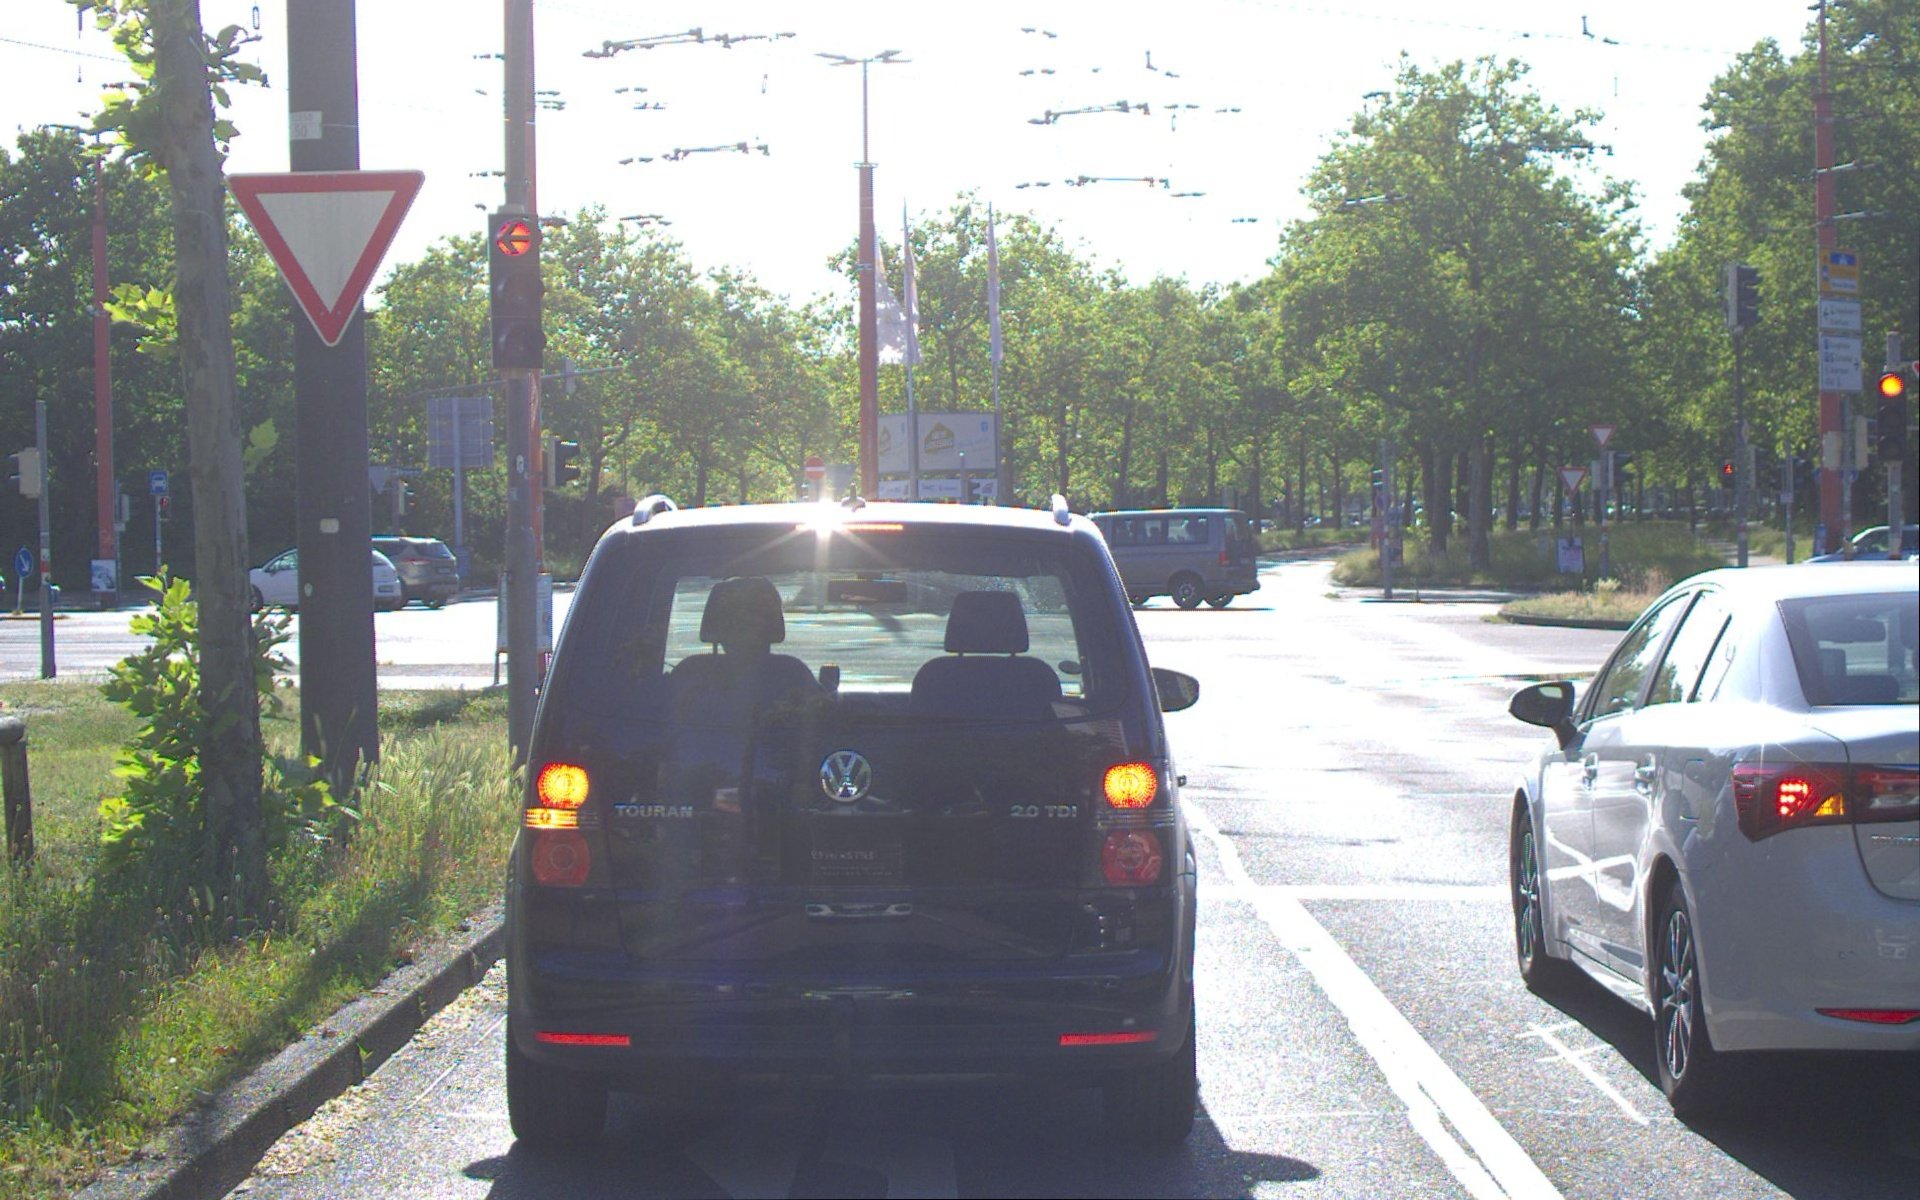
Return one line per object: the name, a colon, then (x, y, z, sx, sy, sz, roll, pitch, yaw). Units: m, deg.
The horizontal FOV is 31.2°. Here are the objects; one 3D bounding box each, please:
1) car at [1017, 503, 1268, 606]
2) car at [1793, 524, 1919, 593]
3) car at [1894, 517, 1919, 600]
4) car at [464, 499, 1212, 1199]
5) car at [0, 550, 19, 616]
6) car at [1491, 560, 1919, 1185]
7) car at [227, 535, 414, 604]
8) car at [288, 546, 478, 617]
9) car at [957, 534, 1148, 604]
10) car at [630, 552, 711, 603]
car: (3.644, -0.906, 68.537, 4.576, 2.007, 1.997, 0, 1, 24)
car: (17.872, -0.770, 65.061, 3.833, 1.260, 1.601, 1, 1, 25)
car: (18.358, -0.747, 60.707, 3.398, 1.452, 1.463, 0, 1, 25)
car: (-0.308, 0.547, 9.824, 1.700, 1.616, 3.897, 0, 1, -1)
car: (-24.938, -0.406, 82.990, 4.125, 1.592, 1.826, 0, 1, 27)
car: (2.718, 0.619, 10.116, 1.720, 1.433, 4.198, 1, 1, 1)
car: (-14.293, -0.683, 76.824, 3.824, 1.517, 1.693, 0, 1, 25)
car: (-13.684, -0.442, 81.527, 4.125, 1.638, 1.850, 0, 1, 26)
car: (1.976, -0.668, 73.279, 3.741, 1.468, 1.598, 0, 1, 26)
car: (-9.762, -0.766, 116.229, 1.915, 1.630, 3.999, 1, 1, 7)
